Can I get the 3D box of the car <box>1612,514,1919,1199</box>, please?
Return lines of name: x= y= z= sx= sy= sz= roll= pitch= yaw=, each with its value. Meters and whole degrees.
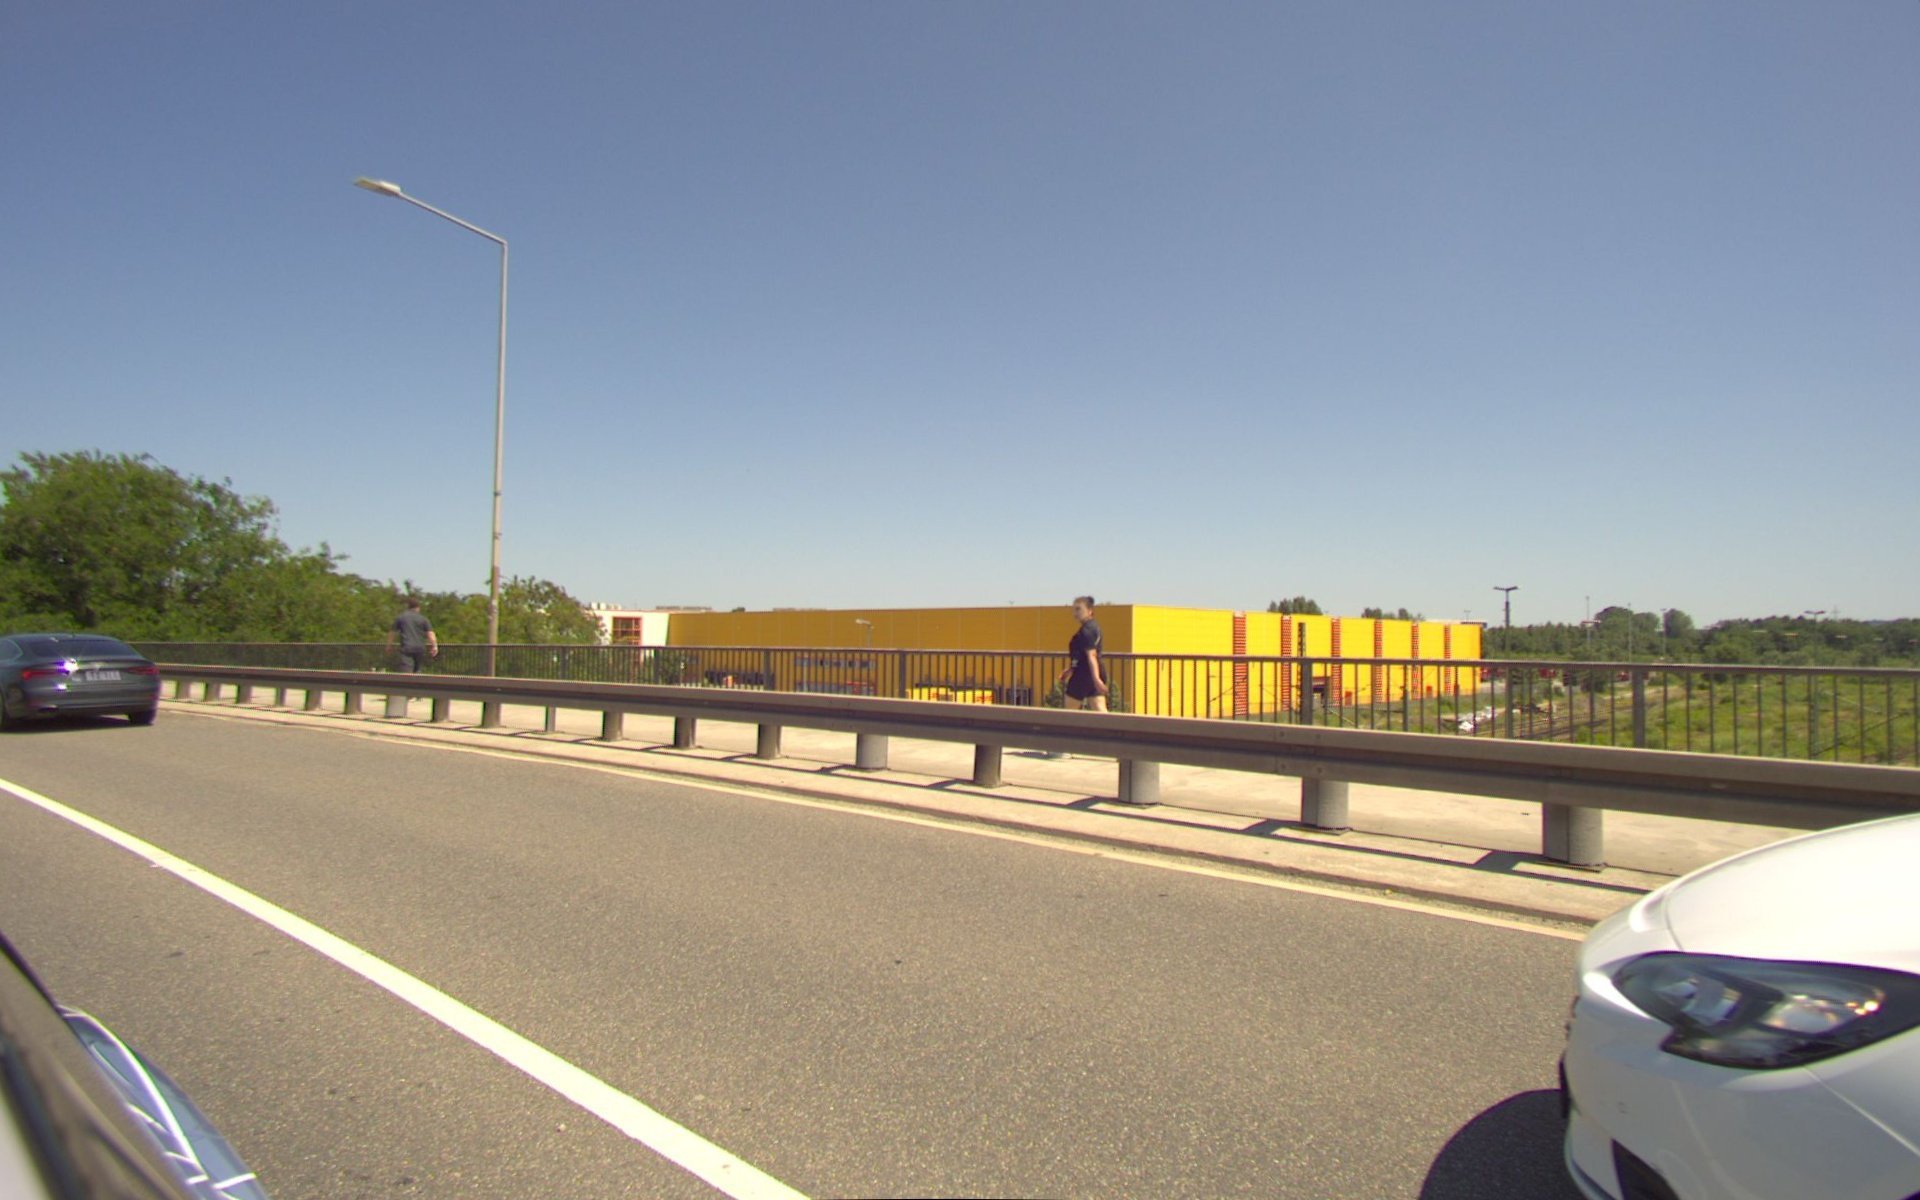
car: x=3.092 y=0.618 z=1.040 sx=3.864 sy=1.495 sz=1.707 roll=-1 pitch=-2 yaw=41

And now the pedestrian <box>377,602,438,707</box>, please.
pedestrian: x=-9.819 y=0.948 z=17.982 sx=0.809 sy=1.796 sz=0.633 roll=-1 pitch=0 yaw=33

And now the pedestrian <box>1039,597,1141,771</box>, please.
pedestrian: x=1.249 y=0.771 z=9.665 sx=0.694 sy=1.573 sz=0.707 roll=-1 pitch=-3 yaw=41

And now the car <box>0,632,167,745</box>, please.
car: x=-13.776 y=1.208 z=15.194 sx=4.566 sy=1.426 sz=1.773 roll=-1 pitch=-2 yaw=36
